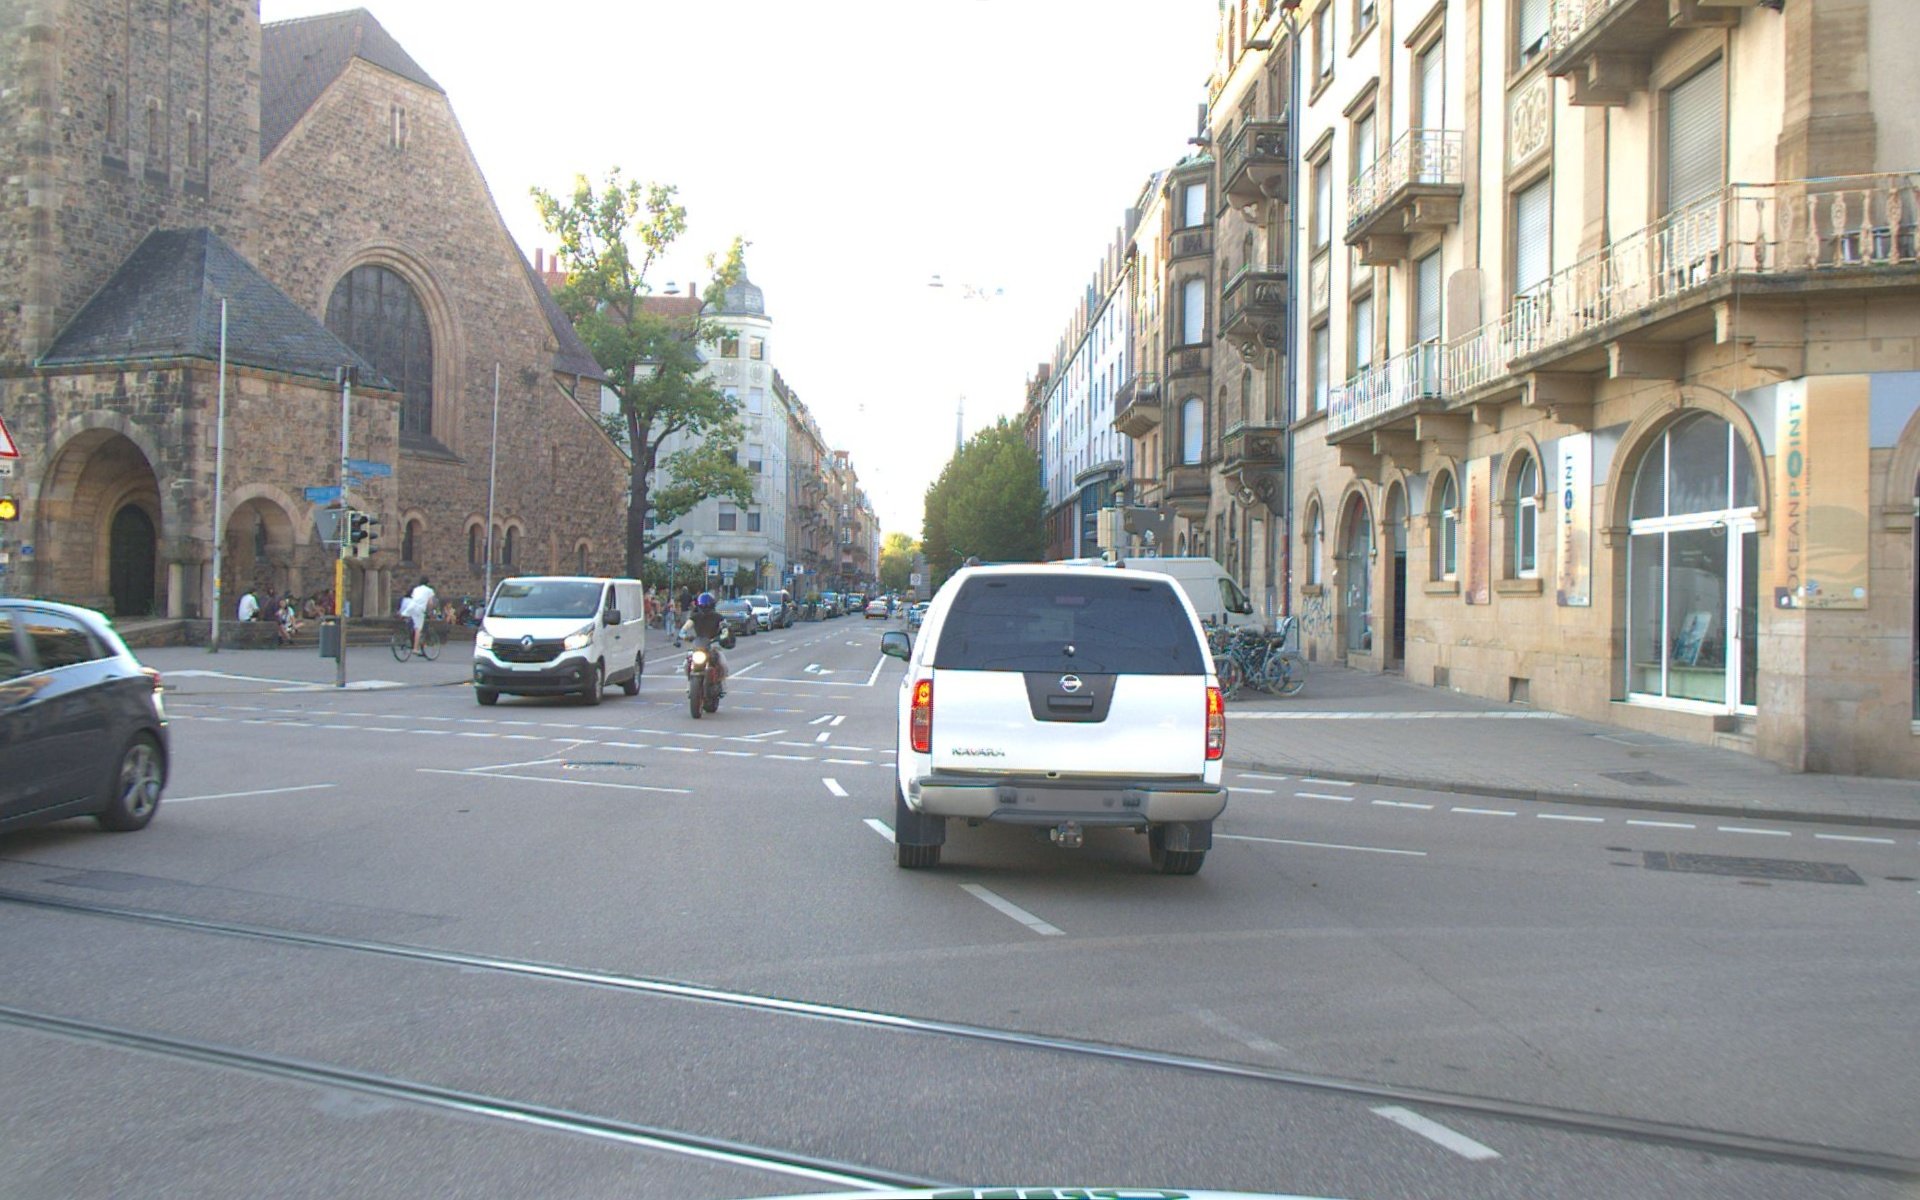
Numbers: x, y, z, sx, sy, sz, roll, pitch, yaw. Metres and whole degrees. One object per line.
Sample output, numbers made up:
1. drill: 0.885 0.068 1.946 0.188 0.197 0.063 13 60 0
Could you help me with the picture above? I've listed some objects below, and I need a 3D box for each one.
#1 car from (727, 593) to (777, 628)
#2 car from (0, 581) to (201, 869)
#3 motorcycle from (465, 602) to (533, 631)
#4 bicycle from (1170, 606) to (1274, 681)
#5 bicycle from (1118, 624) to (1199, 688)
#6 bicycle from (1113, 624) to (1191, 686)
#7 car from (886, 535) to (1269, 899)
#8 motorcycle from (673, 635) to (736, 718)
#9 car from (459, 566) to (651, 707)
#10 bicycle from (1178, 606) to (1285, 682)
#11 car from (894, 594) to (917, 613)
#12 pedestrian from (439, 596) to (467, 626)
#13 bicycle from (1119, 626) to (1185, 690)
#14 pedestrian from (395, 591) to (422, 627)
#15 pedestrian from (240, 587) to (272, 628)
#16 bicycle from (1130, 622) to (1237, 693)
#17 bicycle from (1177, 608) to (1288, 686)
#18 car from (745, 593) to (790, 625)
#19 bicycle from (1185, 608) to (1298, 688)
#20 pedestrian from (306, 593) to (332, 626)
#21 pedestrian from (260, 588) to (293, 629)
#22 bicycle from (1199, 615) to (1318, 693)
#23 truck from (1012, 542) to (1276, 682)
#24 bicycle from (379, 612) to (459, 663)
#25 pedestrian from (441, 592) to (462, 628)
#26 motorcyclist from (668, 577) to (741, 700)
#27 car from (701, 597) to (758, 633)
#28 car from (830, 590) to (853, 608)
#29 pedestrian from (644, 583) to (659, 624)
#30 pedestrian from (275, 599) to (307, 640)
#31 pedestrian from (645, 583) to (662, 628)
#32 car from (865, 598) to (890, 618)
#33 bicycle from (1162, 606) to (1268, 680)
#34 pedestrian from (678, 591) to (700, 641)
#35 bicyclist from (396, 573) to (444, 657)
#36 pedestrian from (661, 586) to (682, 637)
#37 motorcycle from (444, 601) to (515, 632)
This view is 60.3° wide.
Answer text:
1. car: -9.617 0.489 76.705 1.821 1.556 3.999 1 0 -1
2. car: -5.997 0.659 8.907 1.953 1.503 4.139 0 0 -1
3. motorcycle: -16.342 0.584 58.667 2.200 1.005 0.707 1 0 -6
4. bicycle: 4.762 0.785 30.095 1.781 1.259 0.410 -3 0 -2
5. bicycle: 3.494 0.985 29.174 1.344 1.042 0.317 -3 0 -2
6. bicycle: 3.447 0.987 29.721 1.306 1.042 0.317 -3 0 -2
7. car: 0.620 0.618 10.623 1.953 1.841 4.000 1 0 0
8. motorcycle: -3.547 1.049 23.098 0.587 1.062 1.945 1 0 -1
9. car: -6.370 0.539 26.612 1.953 2.049 4.949 0 0 -1
10. bicycle: 4.831 0.784 29.490 1.781 1.259 0.412 -3 0 -2
11. car: -4.646 0.299 141.465 1.821 1.556 3.999 1 0 -1
12. pedestrian: -16.462 0.354 53.726 0.540 0.977 0.709 1 0 21
13. bicycle: 3.303 0.993 28.463 1.055 1.042 0.317 -3 0 -2
14. pedestrian: -15.125 0.250 45.347 0.510 0.977 0.479 1 -1 17
15. pedestrian: -16.989 0.185 39.917 0.511 0.977 0.479 1 -1 19
16. bicycle: 3.717 0.954 27.578 1.692 1.102 0.317 -3 0 -2
17. bicycle: 4.731 0.813 28.764 1.781 1.259 0.477 -3 0 -2
18. car: -9.679 0.442 83.287 1.821 1.556 3.999 1 0 -1
19. bicycle: 4.767 0.806 28.053 1.781 1.259 0.488 -3 0 -2
20. pedestrian: -19.313 0.272 49.871 0.541 0.977 0.708 1 0 -6
21. pedestrian: -16.380 0.198 39.641 0.511 0.977 0.479 1 -1 19
22. bicycle: 4.888 0.883 27.112 1.781 1.170 0.636 -3 0 -2
23. truck: 3.843 0.242 33.676 5.628 2.610 2.251 1 0 -44
24. bicycle: -12.229 0.831 37.471 0.642 1.097 2.247 1 0 12
25. pedestrian: -13.879 0.278 45.148 0.513 0.977 0.477 1 -1 -16
26. motorcyclist: -3.580 0.528 23.243 0.857 1.673 0.963 1 0 -1
27. car: -9.513 0.611 68.509 1.821 1.422 3.999 1 0 -1
28. car: -10.686 -0.059 149.415 1.821 1.556 3.999 1 0 -1
29. pedestrian: -13.366 0.146 71.606 0.549 1.725 0.644 1 -1 -8
30. pedestrian: -16.506 0.480 40.810 0.469 0.977 0.522 1 -1 30
31. pedestrian: -13.124 0.233 70.767 0.632 1.888 0.560 1 -1 -14
32. car: -6.645 0.677 133.968 1.821 1.556 3.999 1 0 -1
33. bicycle: 4.720 0.788 30.626 1.818 1.259 0.530 -3 0 -2
34. pedestrian: -10.329 0.593 63.075 0.635 1.888 0.556 2 -1 -29
35. bicyclist: -12.220 0.343 37.468 0.642 1.859 0.860 1 -1 13
36. pedestrian: -10.950 0.433 62.774 0.635 1.888 0.556 2 -1 -29
37. motorcycle: -16.440 0.573 56.639 2.200 1.005 0.707 1 0 -6
